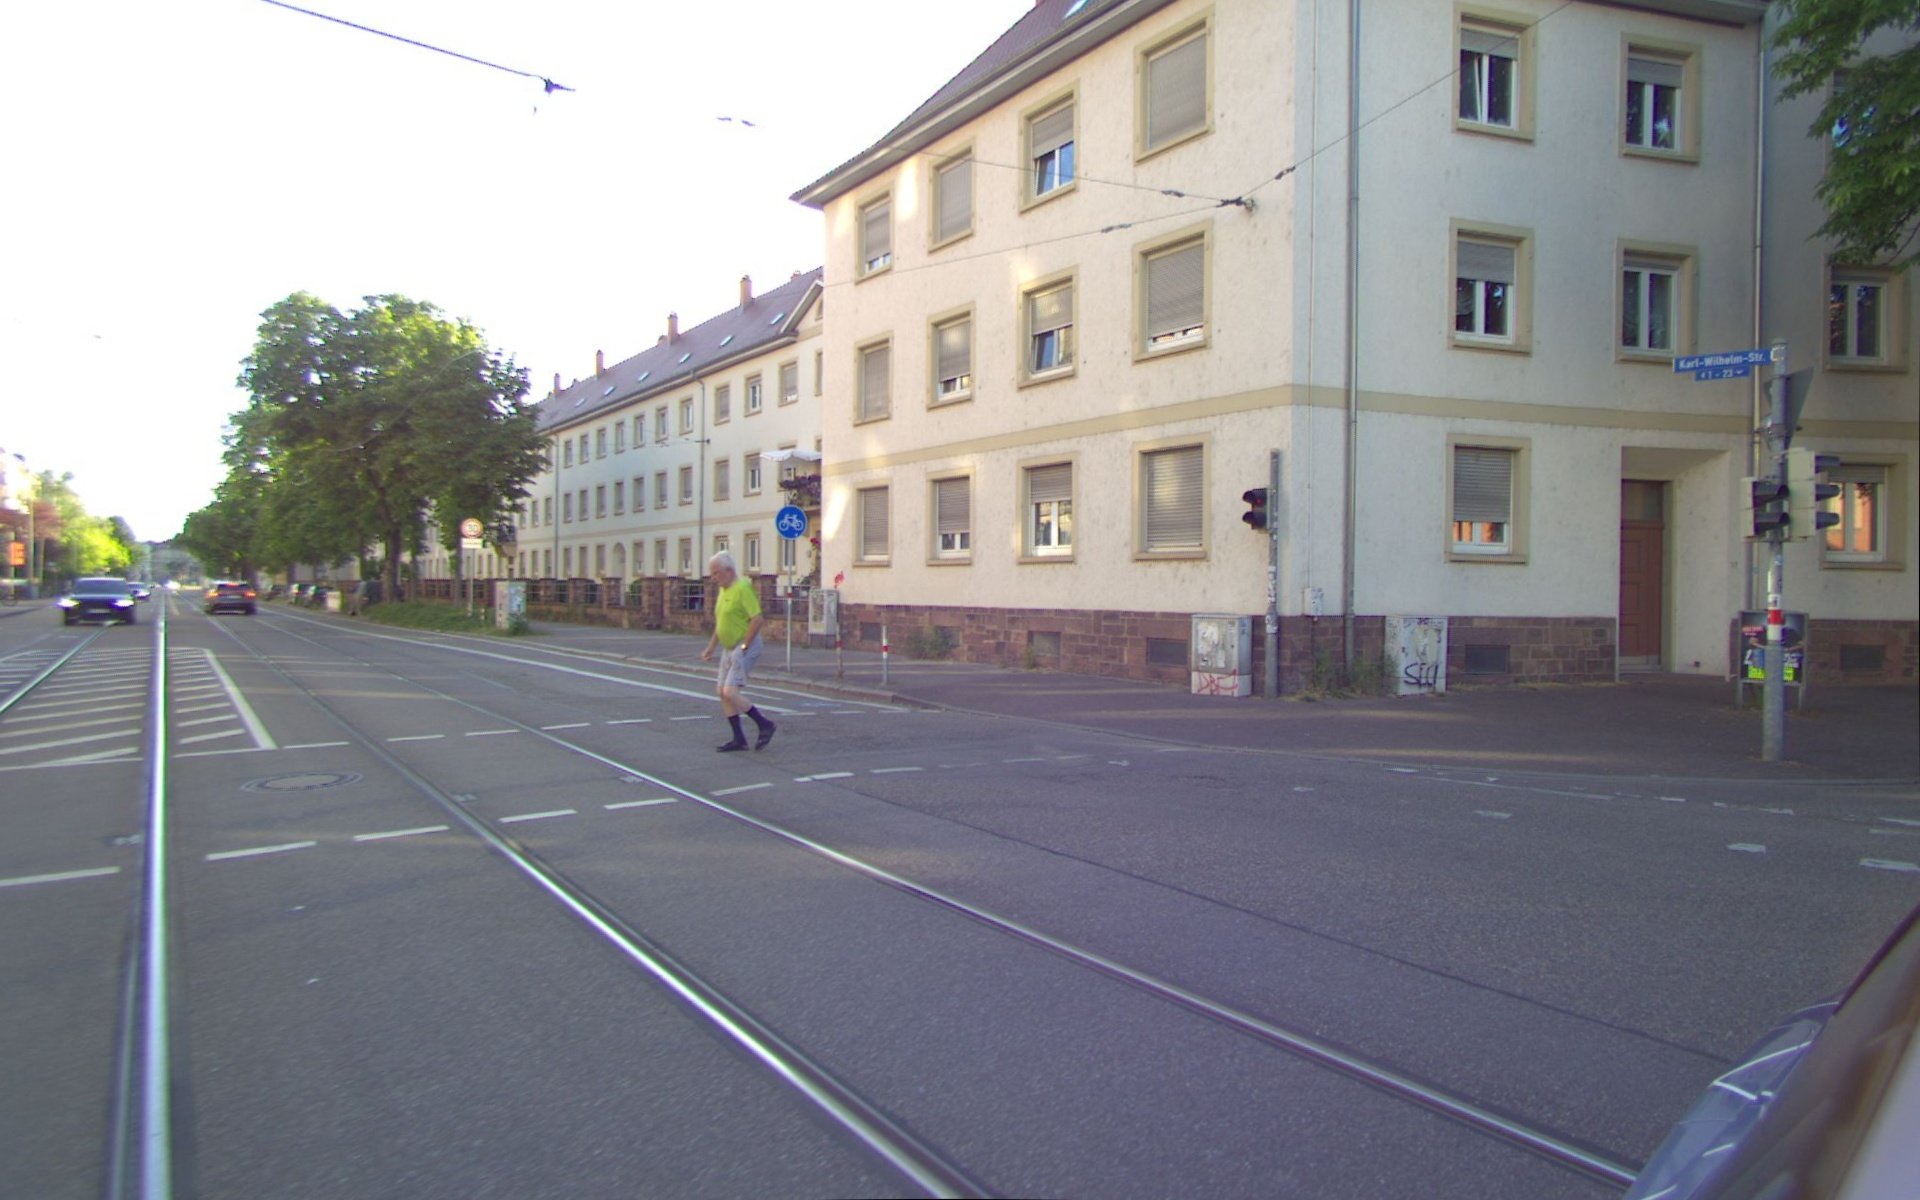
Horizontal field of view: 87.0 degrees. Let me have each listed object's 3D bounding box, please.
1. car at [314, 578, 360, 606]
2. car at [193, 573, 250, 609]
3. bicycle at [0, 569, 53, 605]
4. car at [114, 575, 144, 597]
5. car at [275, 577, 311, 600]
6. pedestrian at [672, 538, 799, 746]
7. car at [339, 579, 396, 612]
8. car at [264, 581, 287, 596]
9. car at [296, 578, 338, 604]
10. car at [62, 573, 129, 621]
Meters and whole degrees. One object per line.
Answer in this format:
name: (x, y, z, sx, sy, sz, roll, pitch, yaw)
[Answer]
car: (-35.464, -0.477, 57.592, 1.573, 1.557, 3.884, 0, 1, -42)
car: (-34.381, -0.454, 47.091, 1.941, 1.605, 4.471, 0, 1, -39)
bicycle: (-54.526, -0.737, 58.399, 3.193, 2.042, 0.929, 0, 1, -44)
car: (-62.120, -1.053, 75.652, 1.573, 1.631, 3.593, 0, 1, -42)
car: (-46.743, -0.798, 70.875, 1.573, 1.557, 3.884, 0, 1, -42)
pedestrian: (-1.982, 0.362, 9.022, 0.873, 1.750, 0.643, 2, -2, 6)
car: (-27.452, -0.227, 46.825, 1.526, 1.458, 3.829, 0, 1, -42)
car: (-59.002, -1.036, 87.231, 1.417, 1.264, 3.313, 0, 1, -38)
car: (-40.231, -0.598, 63.287, 1.573, 1.557, 3.884, 0, 1, -42)
car: (-29.397, -0.142, 34.386, 1.511, 1.544, 3.467, 0, 1, -44)
